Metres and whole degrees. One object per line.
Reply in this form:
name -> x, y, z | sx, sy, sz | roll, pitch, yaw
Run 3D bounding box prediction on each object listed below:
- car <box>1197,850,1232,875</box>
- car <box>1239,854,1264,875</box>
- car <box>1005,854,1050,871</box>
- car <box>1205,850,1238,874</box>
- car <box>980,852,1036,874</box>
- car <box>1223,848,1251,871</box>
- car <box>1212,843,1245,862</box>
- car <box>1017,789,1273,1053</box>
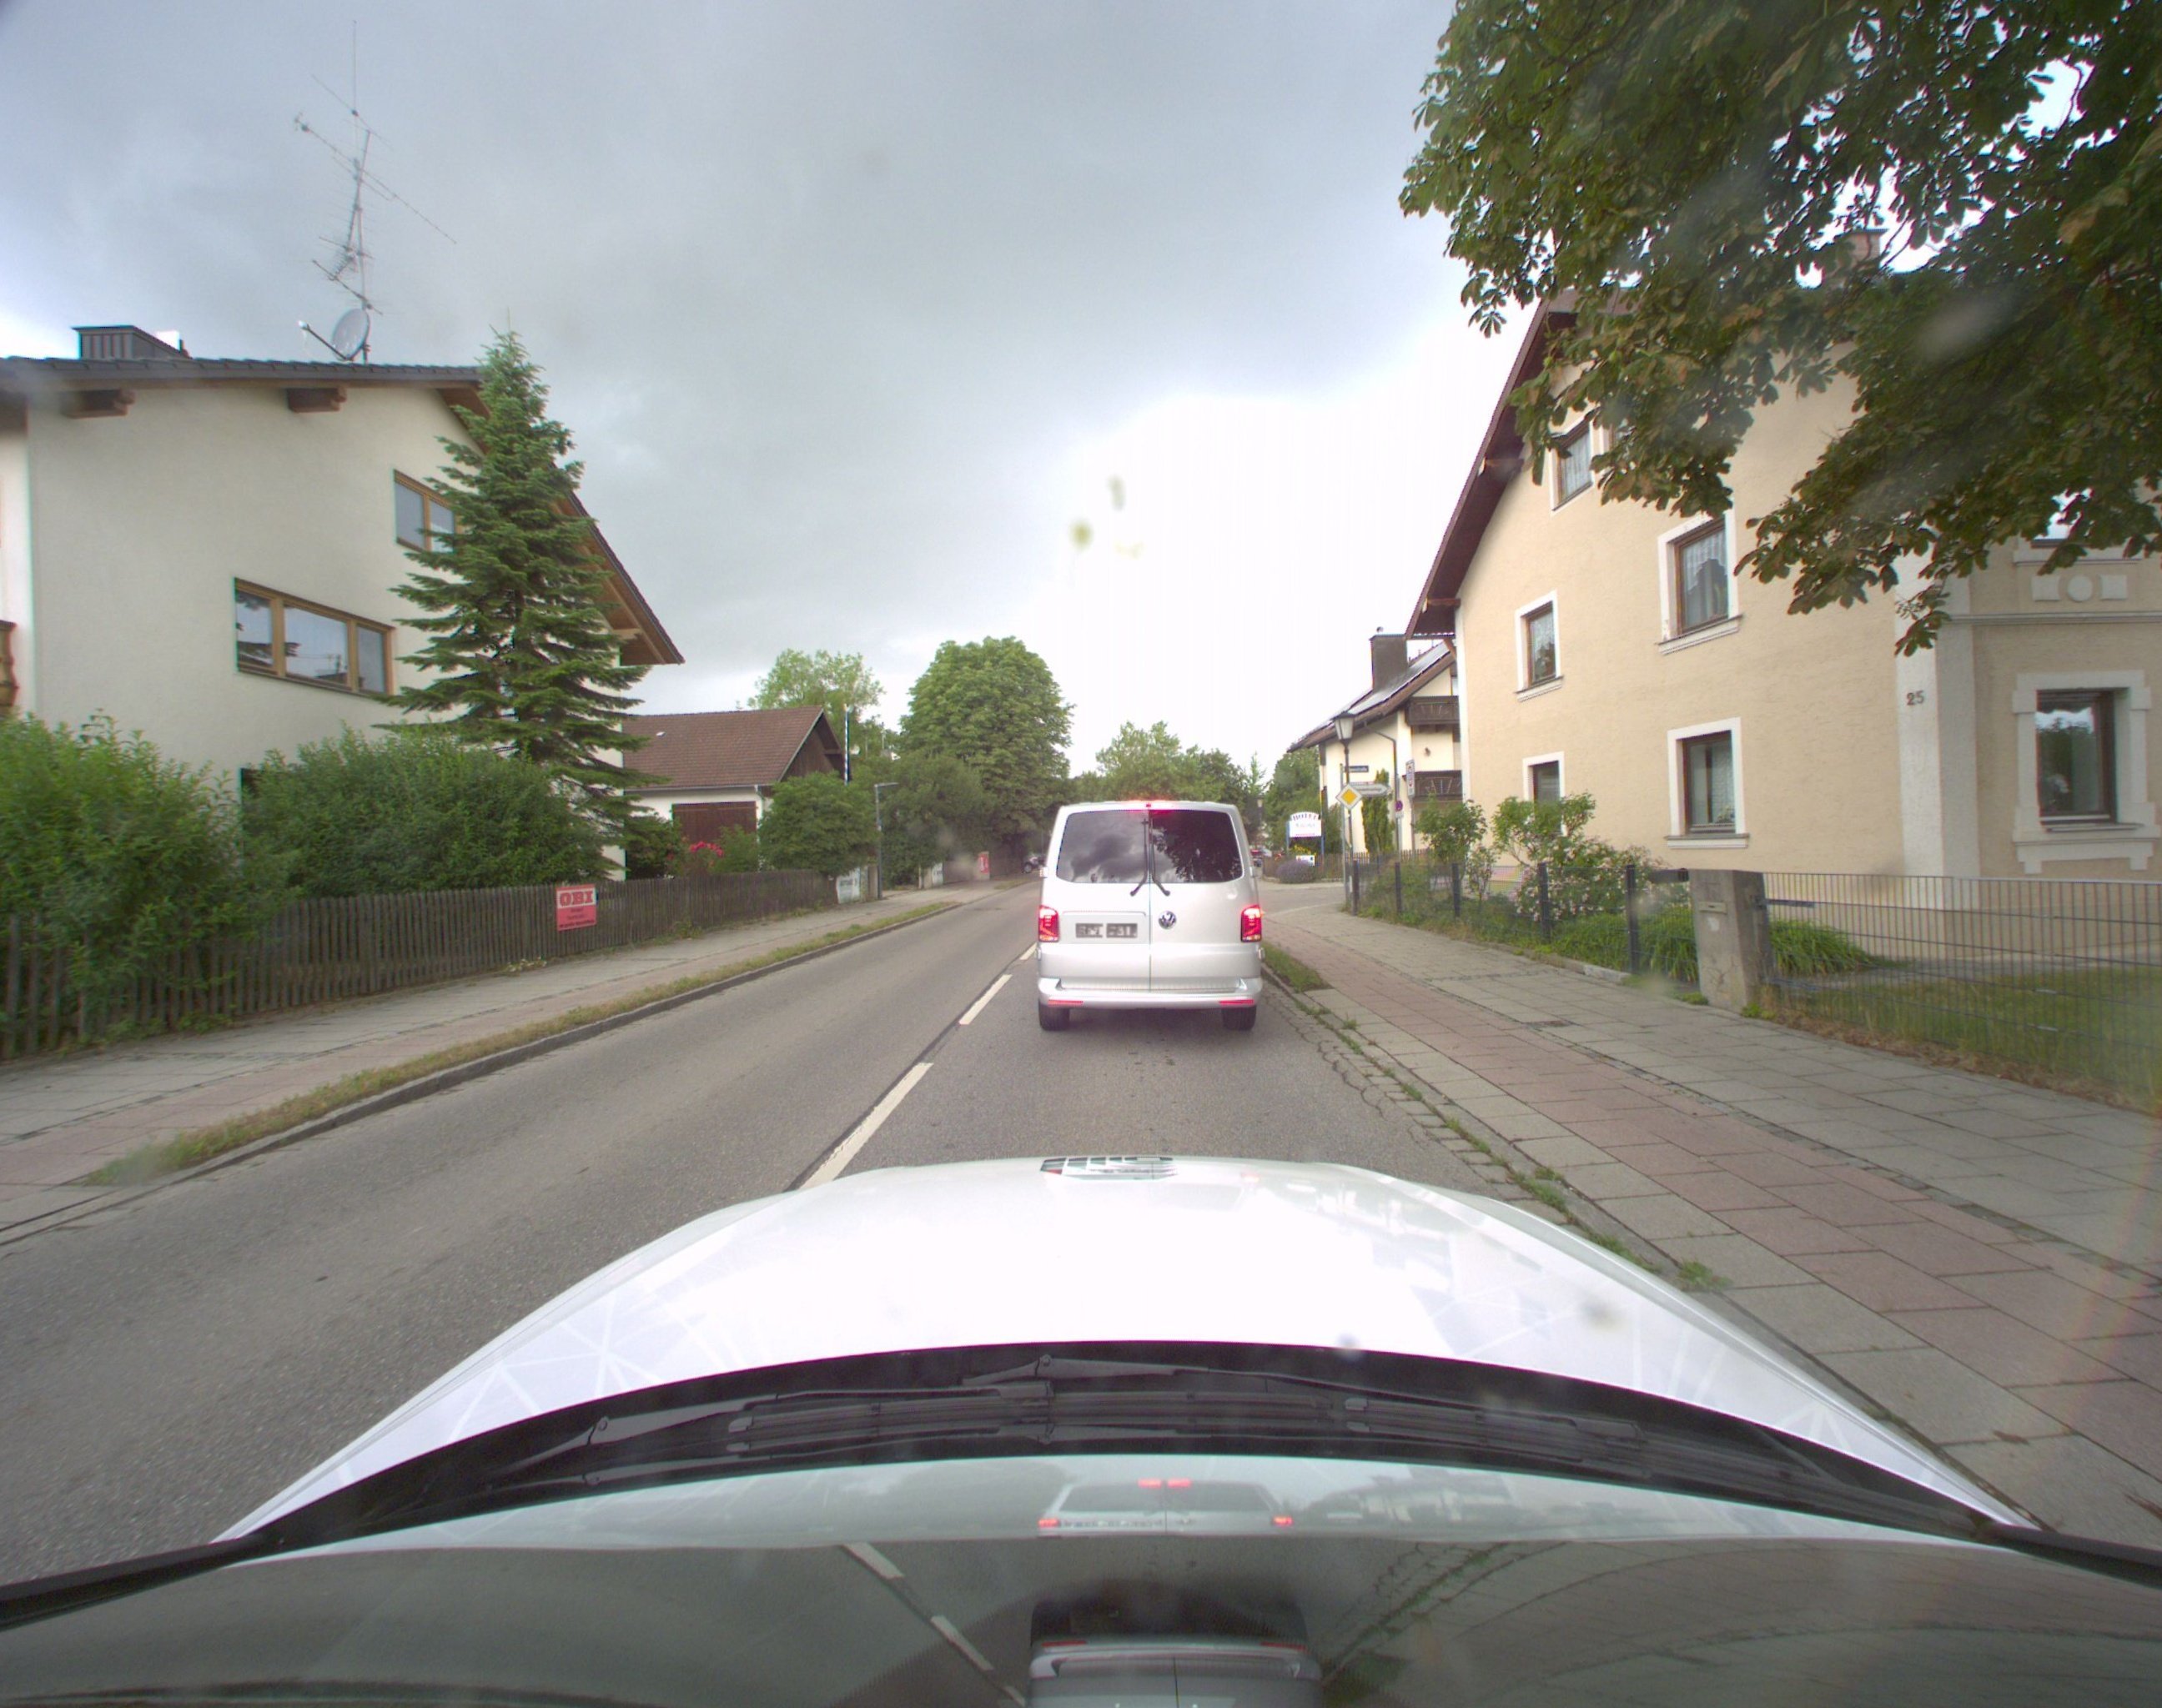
car -> 8.627, 0.511, 52.520 | 1.868, 1.535, 3.935 | -2, 0, 14
car -> 15.223, 0.913, 72.653 | 1.867, 1.825, 3.937 | -2, 0, 16
car -> -4.602, 0.697, 69.720 | 3.748, 1.346, 1.579 | -1, 0, -9
car -> 9.914, 0.547, 57.224 | 1.867, 1.535, 3.937 | -2, 0, 16
car -> -5.308, 0.662, 59.410 | 3.982, 1.486, 1.996 | -1, 0, -6
car -> 12.588, 0.393, 65.489 | 1.867, 1.748, 4.096 | -2, 0, 14
car -> 15.259, -0.149, 83.986 | 1.863, 1.825, 3.946 | -2, 0, 34
car -> 0.576, 0.509, 8.106 | 1.873, 1.940, 3.923 | -2, 0, 3
